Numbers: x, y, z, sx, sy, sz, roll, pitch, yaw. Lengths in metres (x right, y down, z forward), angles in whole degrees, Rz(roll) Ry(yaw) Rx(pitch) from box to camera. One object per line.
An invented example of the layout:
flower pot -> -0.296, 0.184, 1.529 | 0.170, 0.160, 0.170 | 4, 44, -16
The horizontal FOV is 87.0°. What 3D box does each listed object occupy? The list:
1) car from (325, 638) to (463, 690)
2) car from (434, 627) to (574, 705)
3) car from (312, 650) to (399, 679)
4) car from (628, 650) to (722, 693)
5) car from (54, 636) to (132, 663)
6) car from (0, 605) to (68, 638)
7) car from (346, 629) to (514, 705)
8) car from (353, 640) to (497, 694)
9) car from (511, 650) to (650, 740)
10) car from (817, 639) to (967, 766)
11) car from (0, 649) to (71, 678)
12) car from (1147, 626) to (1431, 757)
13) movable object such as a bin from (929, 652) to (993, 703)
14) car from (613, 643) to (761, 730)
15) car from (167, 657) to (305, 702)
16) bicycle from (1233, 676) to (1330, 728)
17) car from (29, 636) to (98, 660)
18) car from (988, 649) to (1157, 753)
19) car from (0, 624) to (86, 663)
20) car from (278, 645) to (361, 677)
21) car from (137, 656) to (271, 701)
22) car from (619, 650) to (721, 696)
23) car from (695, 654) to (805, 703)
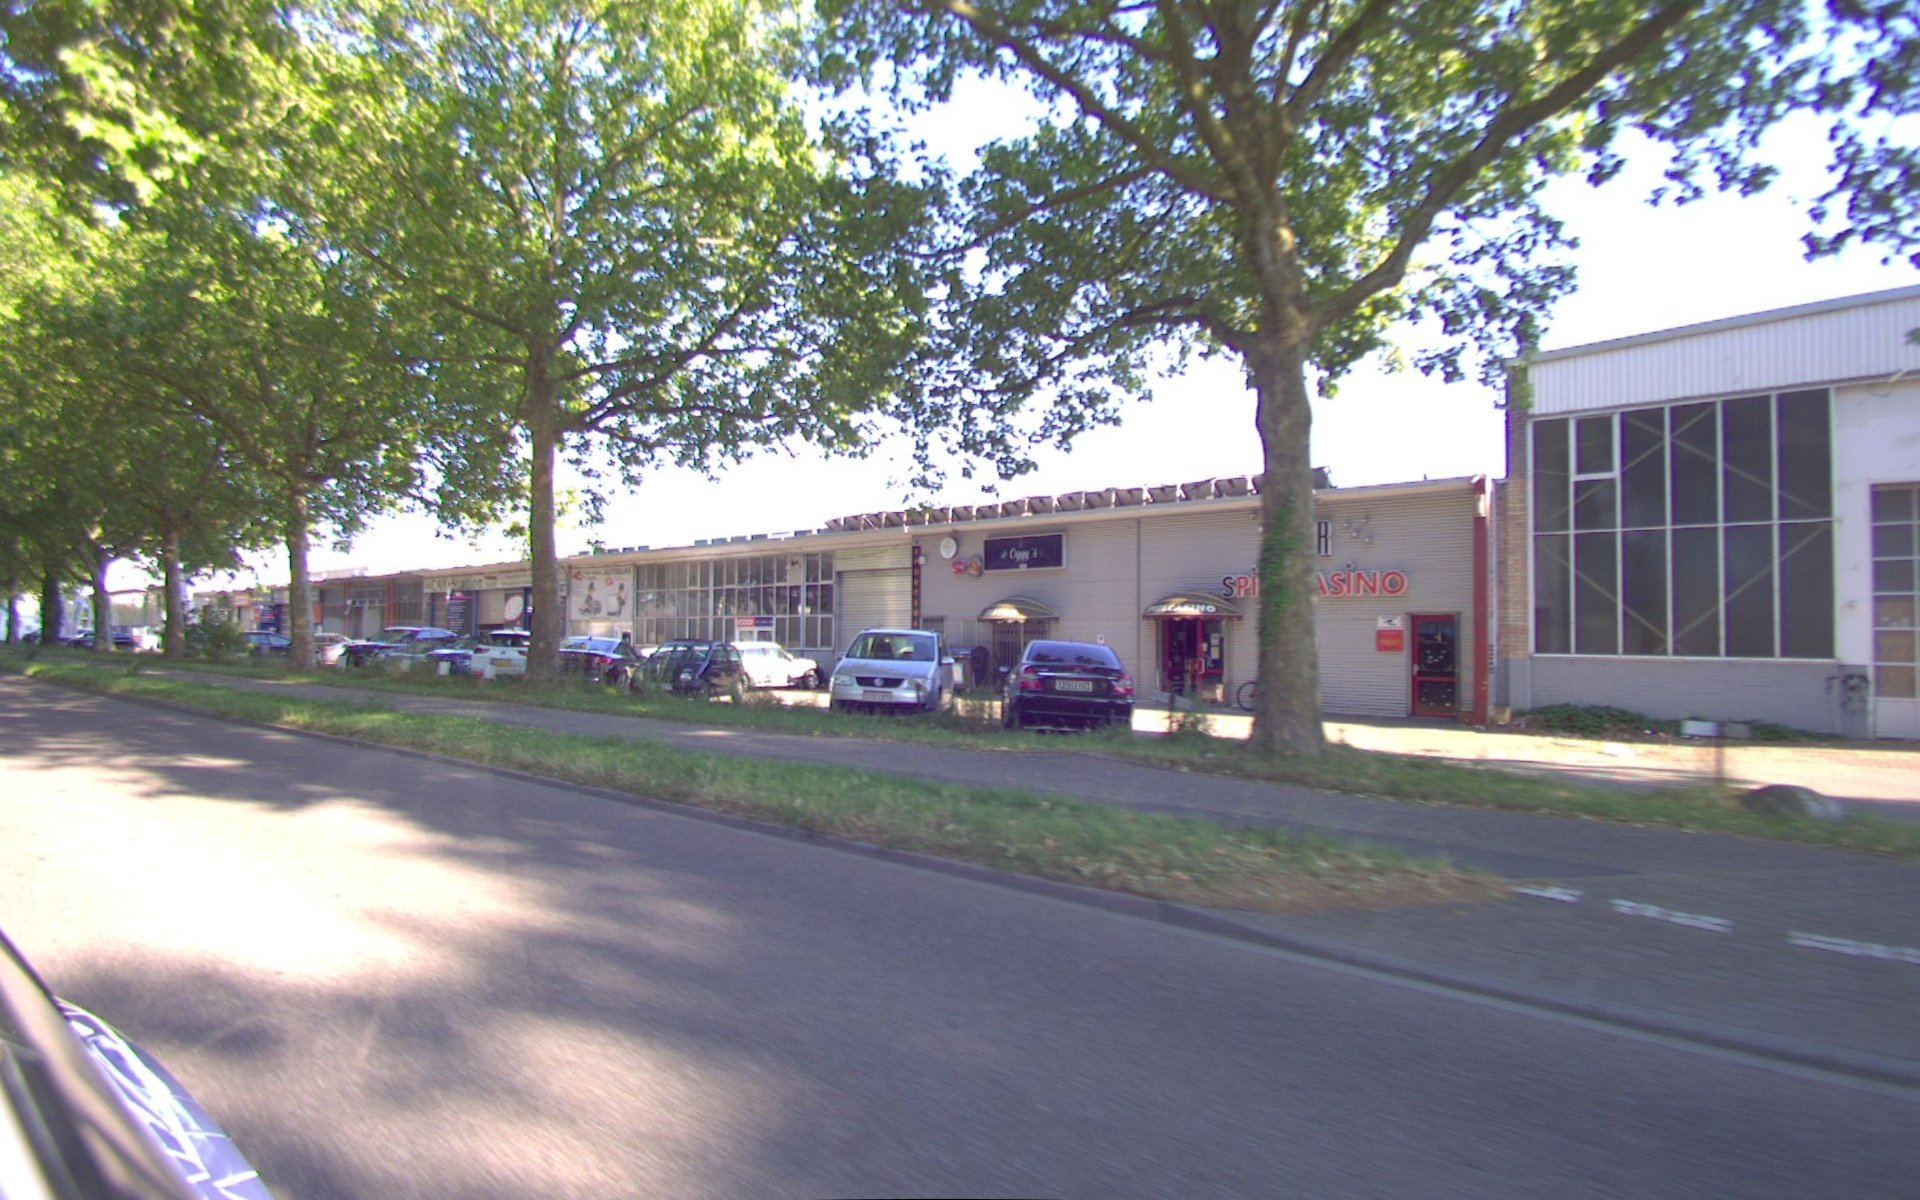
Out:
car -> -18.245, 2.018, 32.862 | 1.973, 1.463, 4.259 | -1, -1, 3
car -> -11.239, 1.562, 25.296 | 1.969, 1.712, 4.268 | 0, -1, -6
car -> -34.092, 3.643, 57.197 | 3.930, 1.453, 2.006 | 0, -1, -22
car -> -10.422, 2.595, 37.093 | 3.242, 1.395, 1.557 | 0, -1, -14
car -> -56.093, 3.201, 65.555 | 1.969, 1.587, 3.847 | -1, -1, -5
car -> -85.347, 2.006, 91.788 | 2.574, 2.517, 6.303 | -1, -6, 11
car -> -13.811, 1.688, 26.643 | 1.977, 1.763, 3.989 | -1, -1, 8
car -> -16.017, 1.965, 30.585 | 1.973, 1.393, 4.259 | -1, -1, 3
car -> -8.358, 2.032, 22.671 | 1.969, 1.642, 4.269 | 0, -1, -7
car -> -0.993, 1.598, 17.087 | 1.974, 1.744, 4.480 | -1, -1, 3
car -> -67.387, 4.595, 73.823 | 1.967, 1.854, 4.259 | 0, -1, -12
car -> 3.769, 1.031, 12.575 | 1.972, 1.316, 4.484 | 0, -3, -1
movable object such as a bin -> 0.039, 2.306, 30.429 | 1.626, 1.442, 1.046 | -1, -1, 39
car -> -5.981, 1.852, 22.705 | 1.974, 1.642, 4.258 | -1, -1, 3
car -> -29.625, 3.204, 41.562 | 1.983, 1.541, 4.326 | -1, -1, 17
bicycle -> 7.717, 2.437, 24.344 | 2.159, 1.066, 0.530 | -1, 4, 42
car -> -63.835, 3.379, 72.141 | 1.967, 1.582, 4.061 | 0, -1, -12
car -> 1.515, 1.411, 15.302 | 1.972, 1.316, 4.484 | 0, -3, -1
car -> -76.916, 3.647, 83.523 | 2.575, 2.875, 6.931 | -1, -6, 12
car -> -38.507, 3.660, 60.928 | 3.930, 1.719, 2.006 | 0, -1, -22
car -> -35.342, 3.615, 47.498 | 1.983, 1.773, 4.872 | -1, -1, 17
car -> -9.966, 2.508, 34.971 | 3.244, 1.417, 1.713 | 0, -1, -11
car -> -6.996, 2.573, 33.650 | 3.241, 1.417, 1.714 | 0, -1, -27
